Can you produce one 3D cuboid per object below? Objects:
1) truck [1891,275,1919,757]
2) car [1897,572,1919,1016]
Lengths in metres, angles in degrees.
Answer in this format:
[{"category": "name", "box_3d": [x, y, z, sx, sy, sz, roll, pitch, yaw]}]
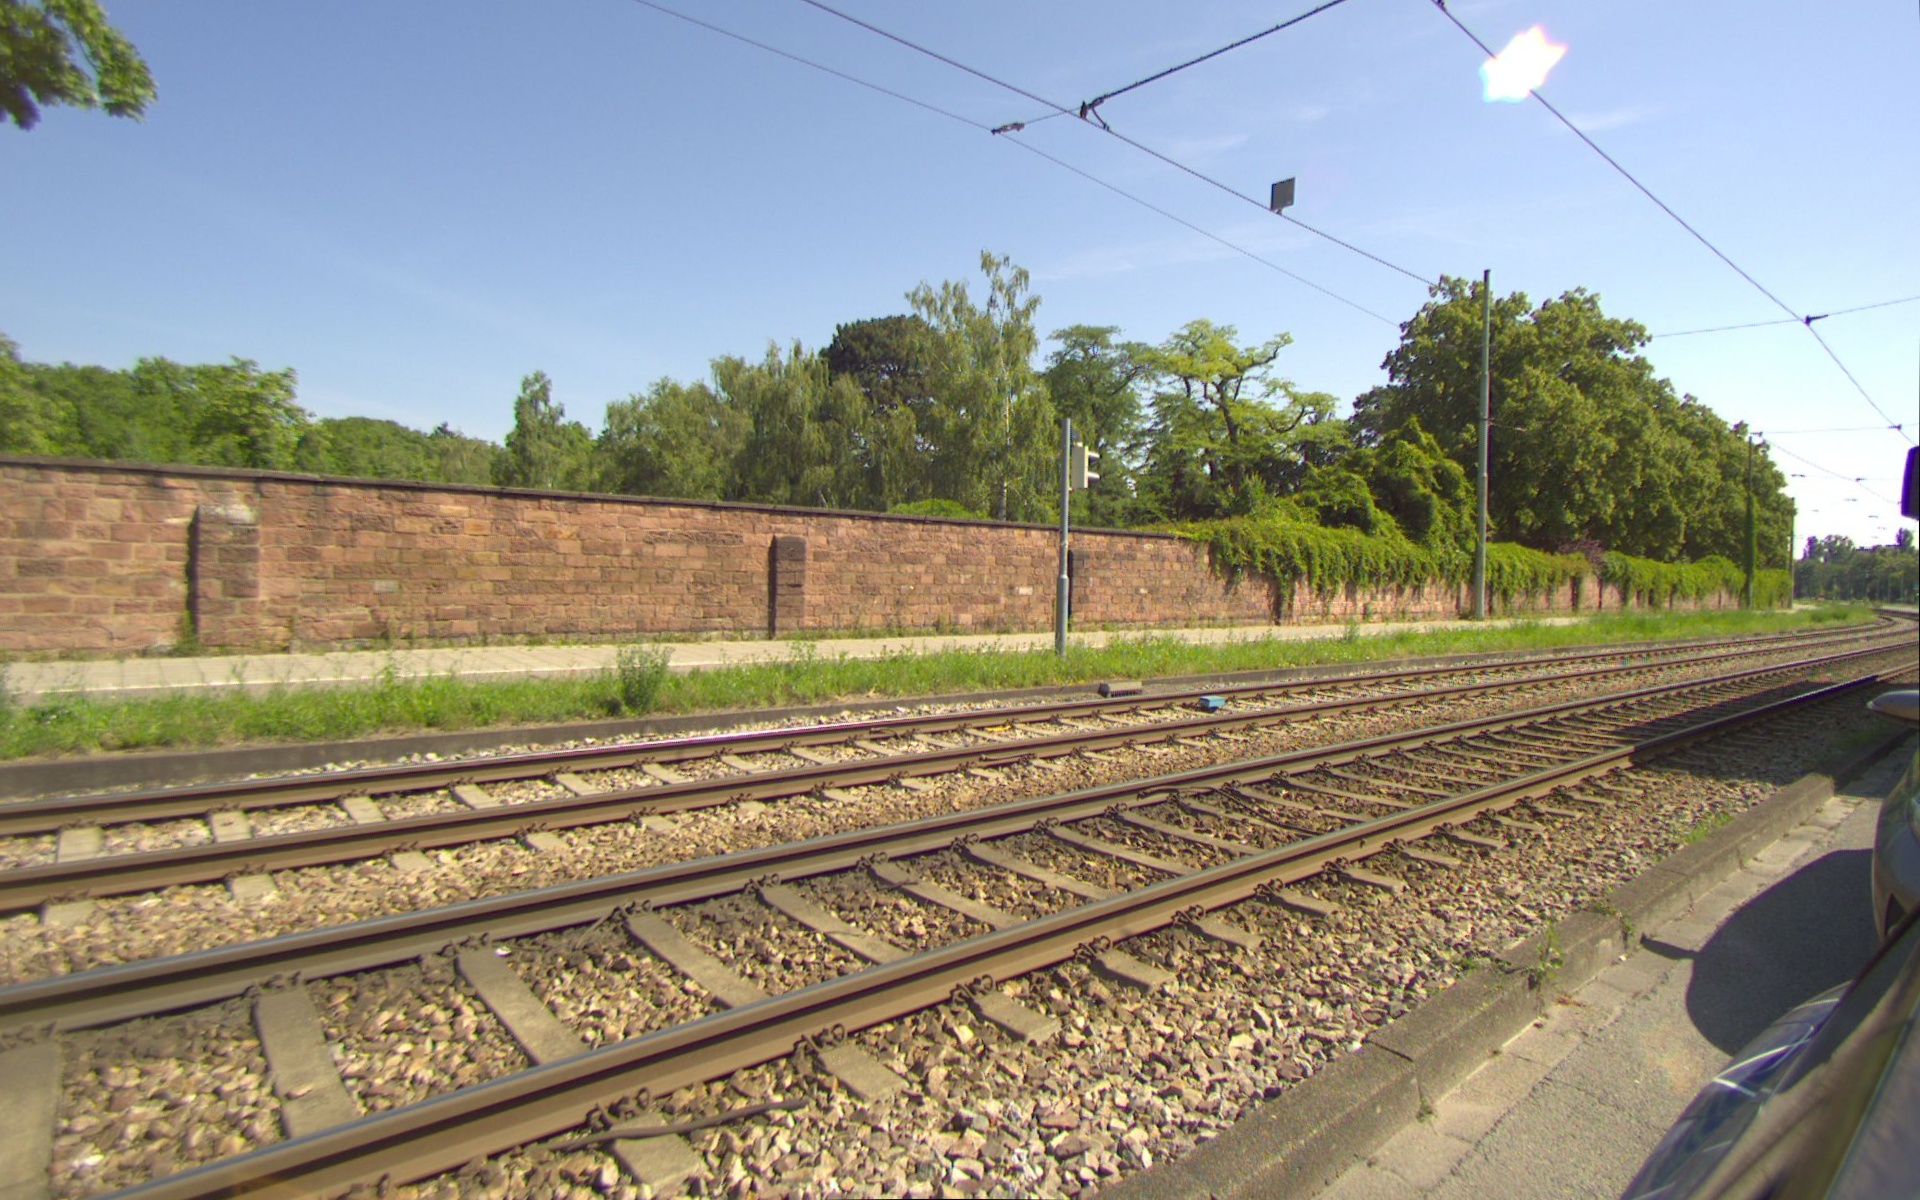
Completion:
[{"category": "truck", "box_3d": [14.229, -0.636, 12.024, 14.652, 3.927, 2.934, 0, 2, -41]}, {"category": "car", "box_3d": [5.108, 0.664, 4.020, 3.930, 1.448, 1.573, 0, 2, -41]}]
